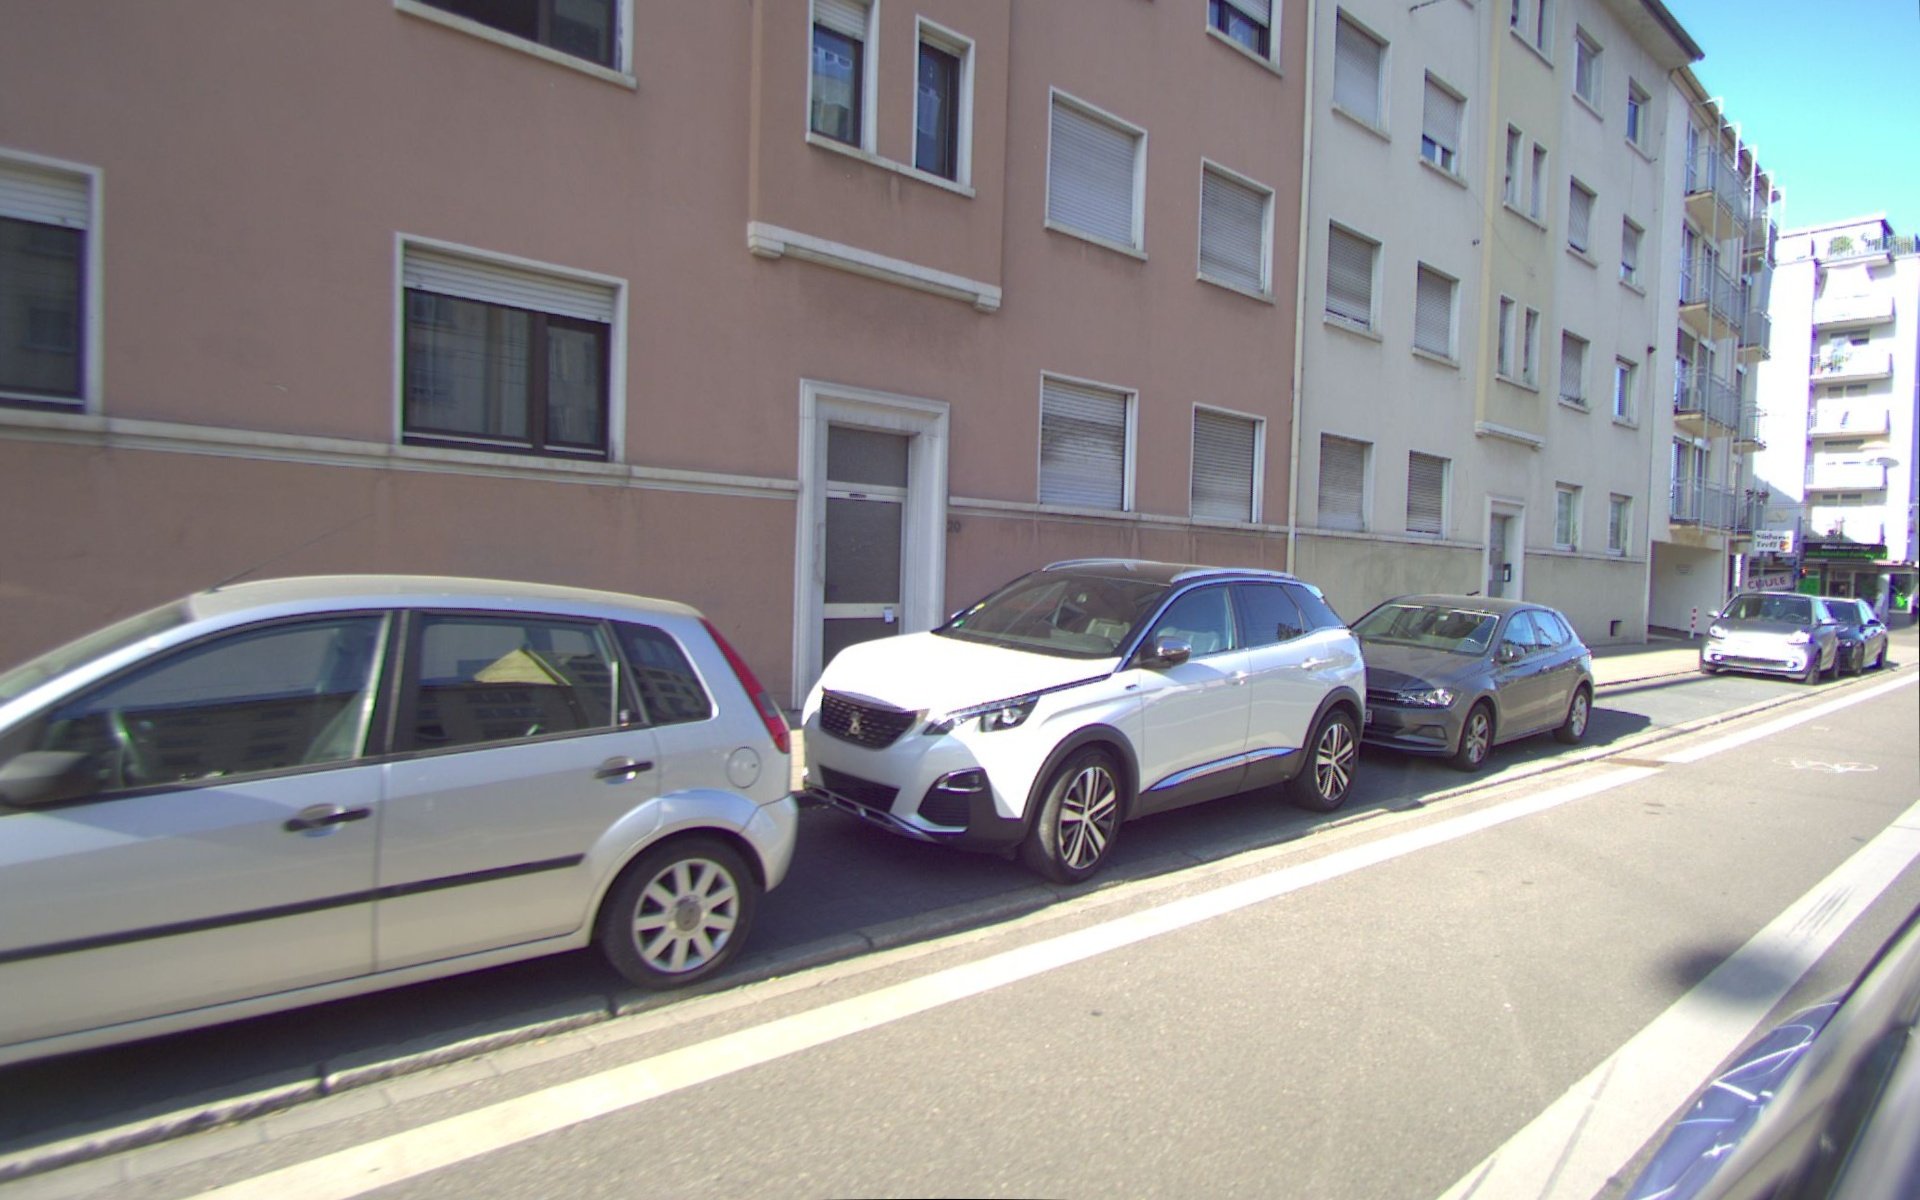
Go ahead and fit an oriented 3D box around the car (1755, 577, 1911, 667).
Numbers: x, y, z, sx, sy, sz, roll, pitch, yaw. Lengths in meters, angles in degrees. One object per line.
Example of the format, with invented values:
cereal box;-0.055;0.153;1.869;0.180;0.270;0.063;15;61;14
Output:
car;17.898;0.376;20.688;4.103;1.570;1.822;0;4;-42

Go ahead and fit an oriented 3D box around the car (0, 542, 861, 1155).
car;-2.485;0.597;3.478;3.980;1.478;1.627;0;5;-38

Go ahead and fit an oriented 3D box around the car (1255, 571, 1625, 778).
car;4.837;0.552;9.947;4.082;1.496;1.749;0;6;-42

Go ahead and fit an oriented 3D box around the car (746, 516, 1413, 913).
car;1.032;0.458;6.657;4.413;1.717;1.805;0;5;-42

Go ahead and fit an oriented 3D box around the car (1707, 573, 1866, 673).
car;14.867;0.354;18.186;2.604;1.570;1.762;0;4;-42

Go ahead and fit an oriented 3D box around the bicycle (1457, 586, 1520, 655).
bicycle;9.455;0.347;18.078;1.732;1.189;0.325;0;0;-39

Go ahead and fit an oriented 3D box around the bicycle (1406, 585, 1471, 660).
bicycle;7.986;0.355;16.855;1.733;1.189;0.324;0;0;-42
